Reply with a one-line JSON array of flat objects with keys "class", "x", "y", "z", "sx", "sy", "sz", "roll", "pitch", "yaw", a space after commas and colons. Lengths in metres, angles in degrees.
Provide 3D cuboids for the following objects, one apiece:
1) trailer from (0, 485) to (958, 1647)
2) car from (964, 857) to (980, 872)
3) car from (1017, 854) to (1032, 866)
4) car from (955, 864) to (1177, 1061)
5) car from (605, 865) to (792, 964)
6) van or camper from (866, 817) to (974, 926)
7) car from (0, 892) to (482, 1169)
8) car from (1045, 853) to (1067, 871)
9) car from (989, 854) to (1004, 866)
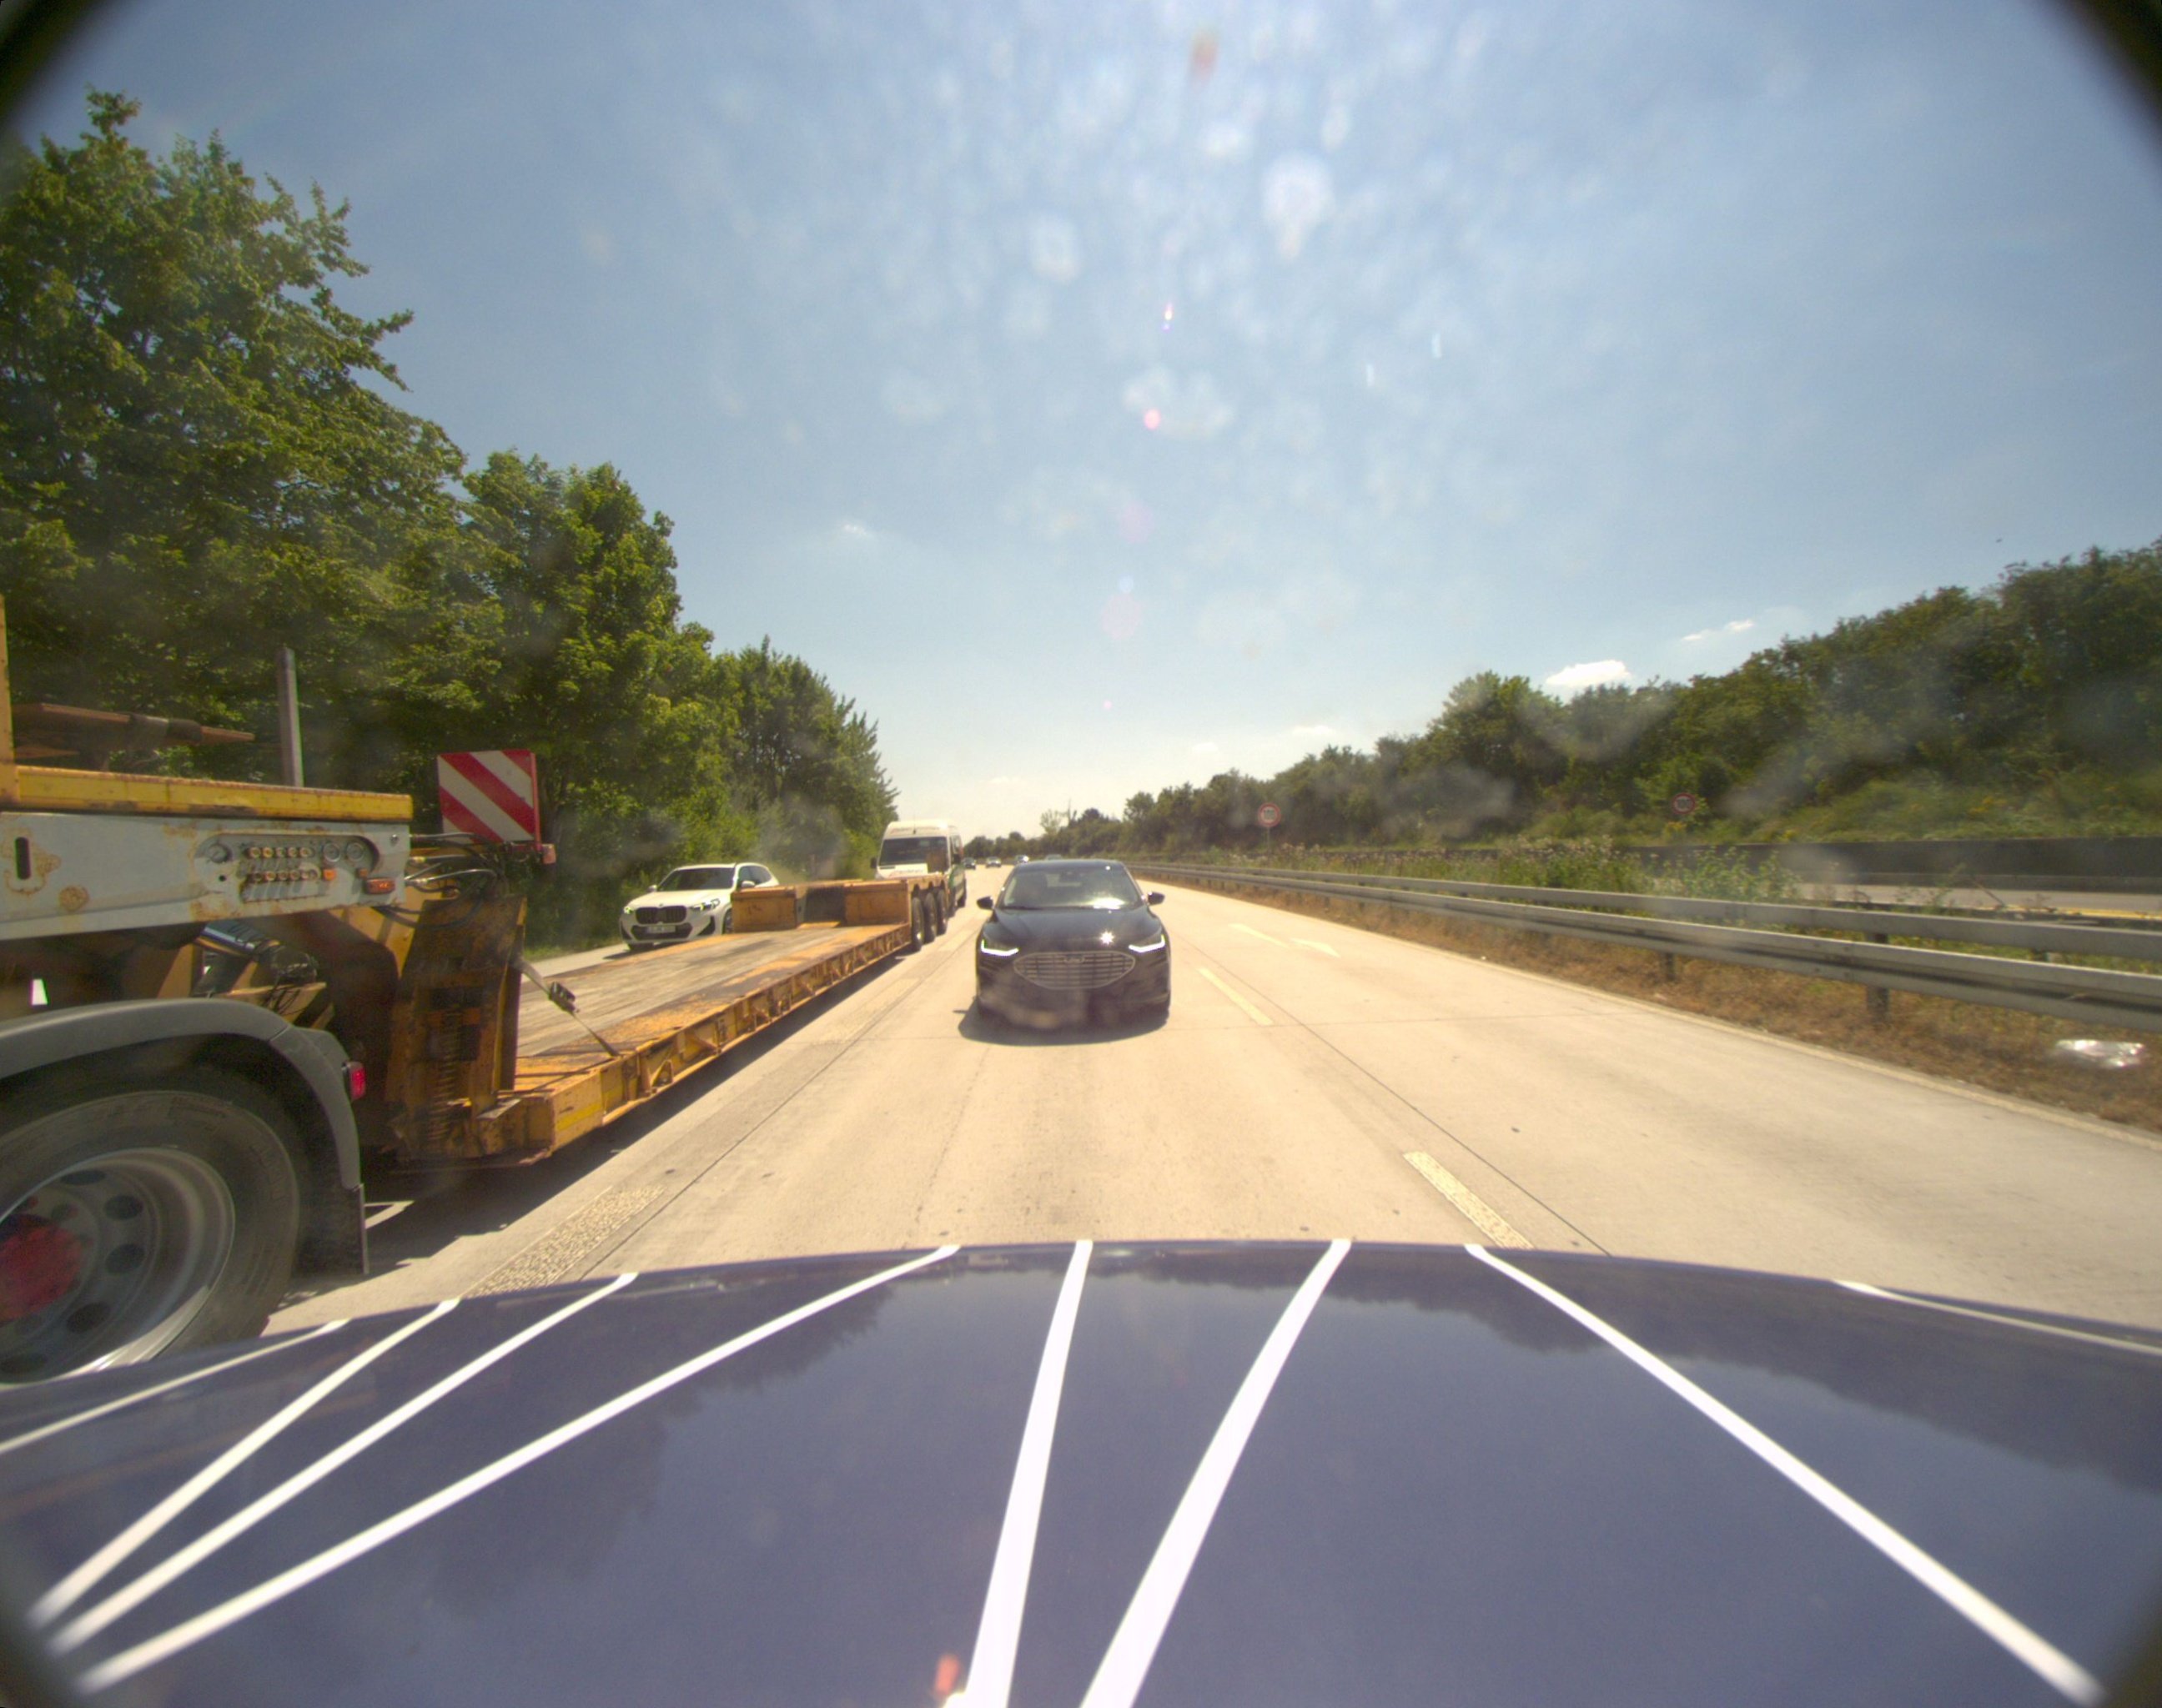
[{"class": "trailer", "x": -4.014, "y": 0.472, "z": 7.574, "sx": 3.035, "sy": 2.578, "sz": 16.353, "roll": -2, "pitch": 0, "yaw": -1}, {"class": "car", "x": -12.777, "y": 1.197, "z": 89.138, "sx": 1.773, "sy": 1.552, "sz": 4.364, "roll": -2, "pitch": 1, "yaw": -8}, {"class": "car", "x": -7.486, "y": 0.769, "z": 101.035, "sx": 1.707, "sy": 1.456, "sz": 3.997, "roll": -2, "pitch": 1, "yaw": -7}, {"class": "car", "x": -0.101, "y": 0.901, "z": 8.249, "sx": 1.731, "sy": 1.430, "sz": 4.303, "roll": -2, "pitch": 0, "yaw": 0}, {"class": "car", "x": -7.526, "y": 1.089, "z": 15.488, "sx": 1.772, "sy": 1.552, "sz": 4.366, "roll": -2, "pitch": 1, "yaw": -4}, {"class": "van or camper", "x": -4.307, "y": 0.385, "z": 21.362, "sx": 2.069, "sy": 2.559, "sz": 5.905, "roll": -2, "pitch": 1, "yaw": -4}, {"class": "car", "x": -7.547, "y": 1.211, "z": 6.154, "sx": 1.772, "sy": 1.454, "sz": 4.597, "roll": -2, "pitch": 1, "yaw": -2}, {"class": "car", "x": -2.252, "y": 0.719, "z": 68.541, "sx": 1.628, "sy": 1.476, "sz": 3.997, "roll": -2, "pitch": 1, "yaw": -6}, {"class": "car", "x": -11.284, "y": 0.812, "z": 101.307, "sx": 1.891, "sy": 1.456, "sz": 3.997, "roll": -2, "pitch": 1, "yaw": -7}]
